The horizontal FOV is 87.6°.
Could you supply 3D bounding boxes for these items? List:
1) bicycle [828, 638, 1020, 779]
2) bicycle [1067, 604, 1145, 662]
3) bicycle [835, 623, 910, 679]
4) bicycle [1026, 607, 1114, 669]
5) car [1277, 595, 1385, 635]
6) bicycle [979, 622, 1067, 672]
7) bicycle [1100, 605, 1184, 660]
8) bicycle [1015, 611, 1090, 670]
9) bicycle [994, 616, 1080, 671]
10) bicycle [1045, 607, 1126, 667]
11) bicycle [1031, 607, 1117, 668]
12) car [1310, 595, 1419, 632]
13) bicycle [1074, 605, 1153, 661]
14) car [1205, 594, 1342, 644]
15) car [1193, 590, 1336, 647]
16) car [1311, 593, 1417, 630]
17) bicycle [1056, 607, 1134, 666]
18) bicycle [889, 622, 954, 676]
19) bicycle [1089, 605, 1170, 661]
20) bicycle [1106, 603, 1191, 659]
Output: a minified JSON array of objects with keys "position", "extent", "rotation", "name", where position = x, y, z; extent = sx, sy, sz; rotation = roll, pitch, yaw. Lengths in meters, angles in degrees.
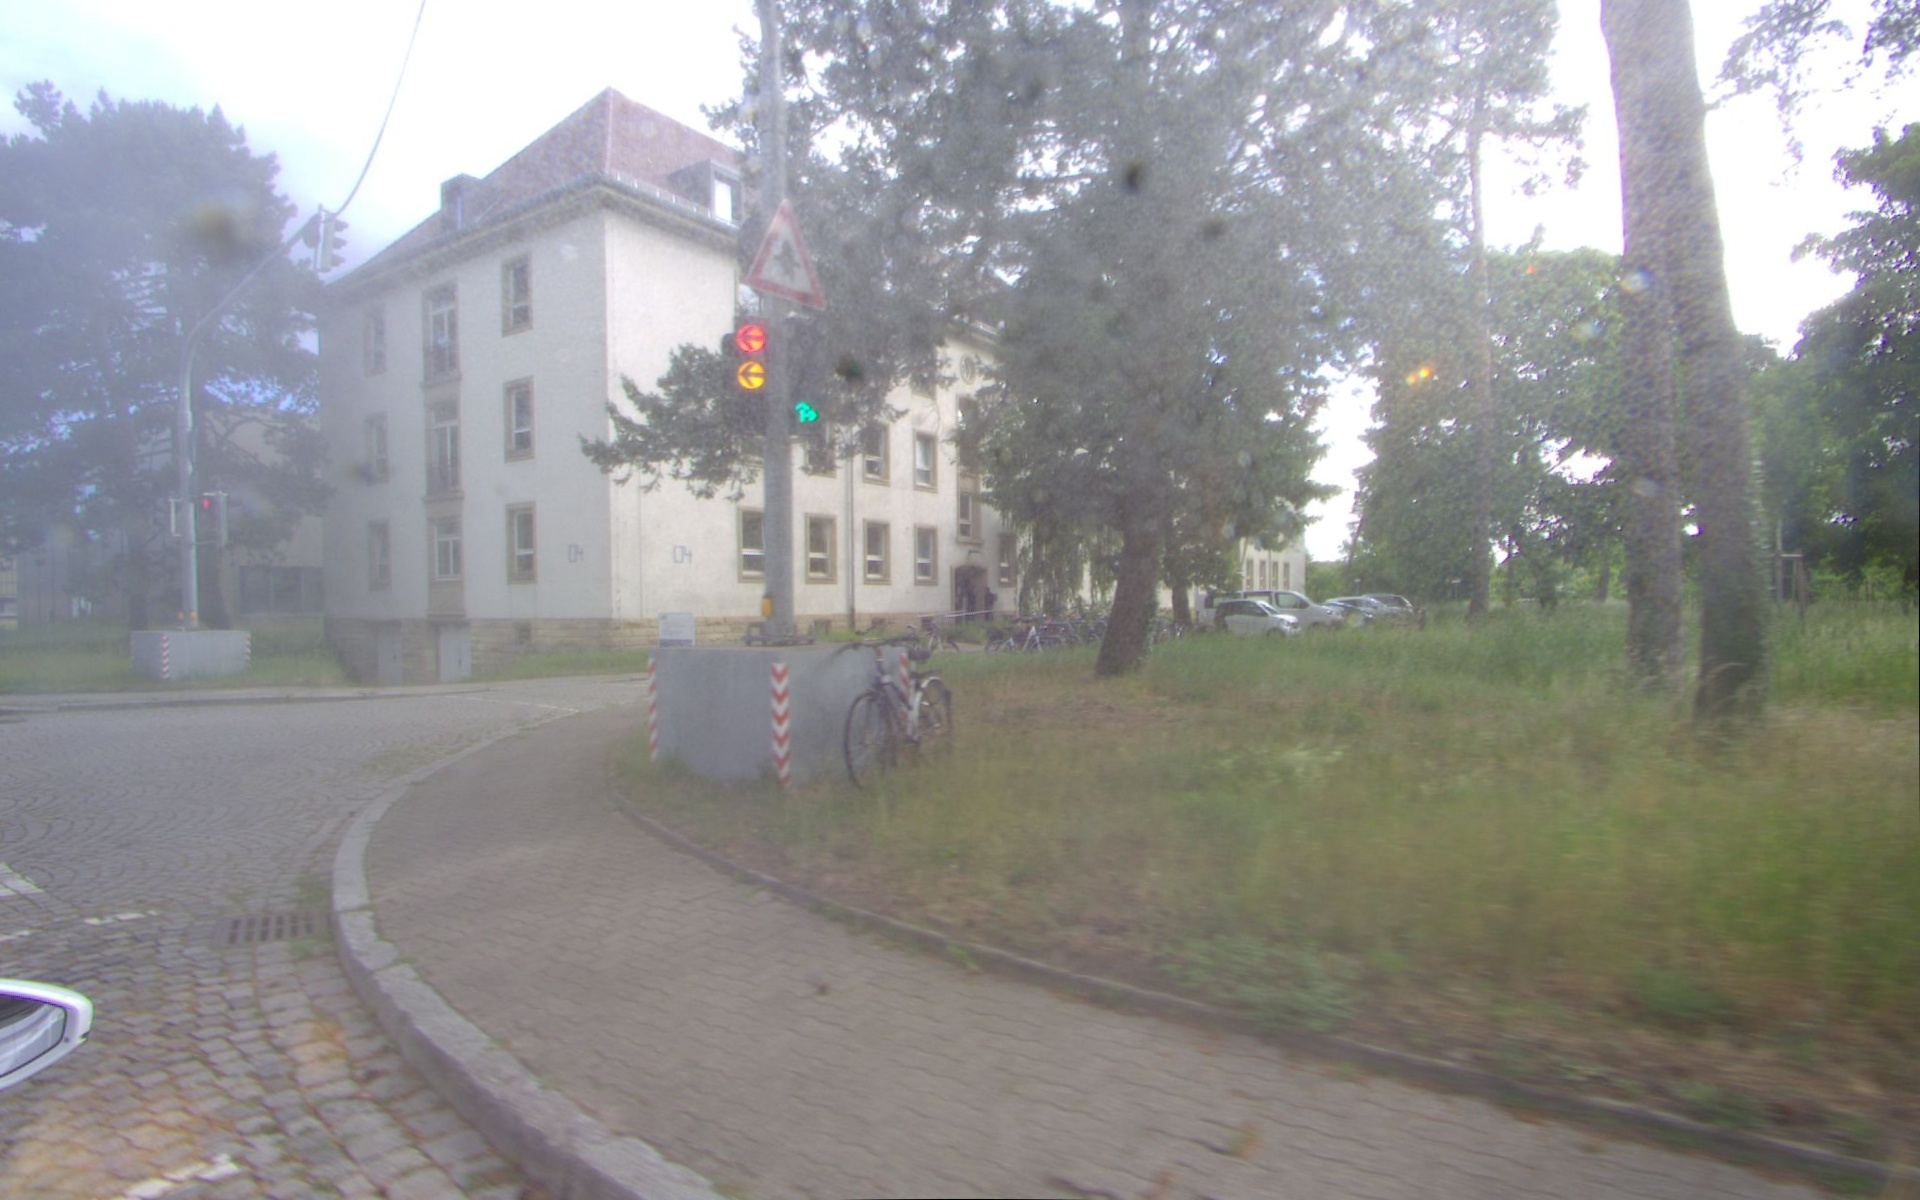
[{"position":[-0.225,0.765,7.608],"extent":[0.565,0.886,1.695],"rotation":[0,0,34],"name":"bicycle"},{"position":[3.485,0.777,24.004],"extent":[1.830,1.337,0.553],"rotation":[0,0,40],"name":"bicycle"},{"position":[-1.632,0.935,18.846],"extent":[0.523,0.993,1.617],"rotation":[0,0,33],"name":"bicycle"},{"position":[2.414,0.815,22.151],"extent":[2.023,1.337,0.435],"rotation":[0,1,40],"name":"bicycle"},{"position":[15.788,0.617,42.657],"extent":[3.946,1.639,1.987],"rotation":[0,0,35],"name":"car"},{"position":[1.295,0.960,20.820],"extent":[1.879,0.962,0.539],"rotation":[0,0,40],"name":"bicycle"},{"position":[4.579,0.809,25.360],"extent":[2.106,1.337,0.552],"rotation":[0,0,40],"name":"bicycle"},{"position":[2.001,0.868,21.824],"extent":[1.619,1.232,0.539],"rotation":[0,0,40],"name":"bicycle"},{"position":[1.619,0.902,21.388],"extent":[1.879,1.116,0.539],"rotation":[0,0,40],"name":"bicycle"},{"position":[2.888,0.839,23.228],"extent":[1.897,1.337,0.503],"rotation":[0,1,40],"name":"bicycle"},{"position":[2.576,0.827,22.729],"extent":[1.952,1.337,0.574],"rotation":[0,0,40],"name":"bicycle"},{"position":[19.060,0.626,47.225],"extent":[4.456,1.639,1.987],"rotation":[0,0,35],"name":"car"},{"position":[3.744,0.787,24.565],"extent":[1.915,1.337,0.551],"rotation":[0,0,40],"name":"bicycle"},{"position":[10.146,0.586,32.476],"extent":[3.880,1.550,1.850],"rotation":[0,0,37],"name":"car"},{"position":[10.940,0.640,36.000],"extent":[4.777,1.935,2.235],"rotation":[0,0,19],"name":"car"},{"position":[20.262,0.566,50.271],"extent":[4.633,1.796,1.987],"rotation":[0,0,35],"name":"car"},{"position":[3.164,0.846,23.584],"extent":[1.895,1.337,0.390],"rotation":[0,1,40],"name":"bicycle"},{"position":[-0.764,0.974,20.375],"extent":[0.535,1.028,1.532],"rotation":[0,0,33],"name":"bicycle"},{"position":[4.206,0.799,24.929],"extent":[1.991,1.337,0.538],"rotation":[0,0,40],"name":"bicycle"},{"position":[4.880,0.777,26.014],"extent":[2.077,1.385,0.754],"rotation":[0,1,40],"name":"bicycle"}]
